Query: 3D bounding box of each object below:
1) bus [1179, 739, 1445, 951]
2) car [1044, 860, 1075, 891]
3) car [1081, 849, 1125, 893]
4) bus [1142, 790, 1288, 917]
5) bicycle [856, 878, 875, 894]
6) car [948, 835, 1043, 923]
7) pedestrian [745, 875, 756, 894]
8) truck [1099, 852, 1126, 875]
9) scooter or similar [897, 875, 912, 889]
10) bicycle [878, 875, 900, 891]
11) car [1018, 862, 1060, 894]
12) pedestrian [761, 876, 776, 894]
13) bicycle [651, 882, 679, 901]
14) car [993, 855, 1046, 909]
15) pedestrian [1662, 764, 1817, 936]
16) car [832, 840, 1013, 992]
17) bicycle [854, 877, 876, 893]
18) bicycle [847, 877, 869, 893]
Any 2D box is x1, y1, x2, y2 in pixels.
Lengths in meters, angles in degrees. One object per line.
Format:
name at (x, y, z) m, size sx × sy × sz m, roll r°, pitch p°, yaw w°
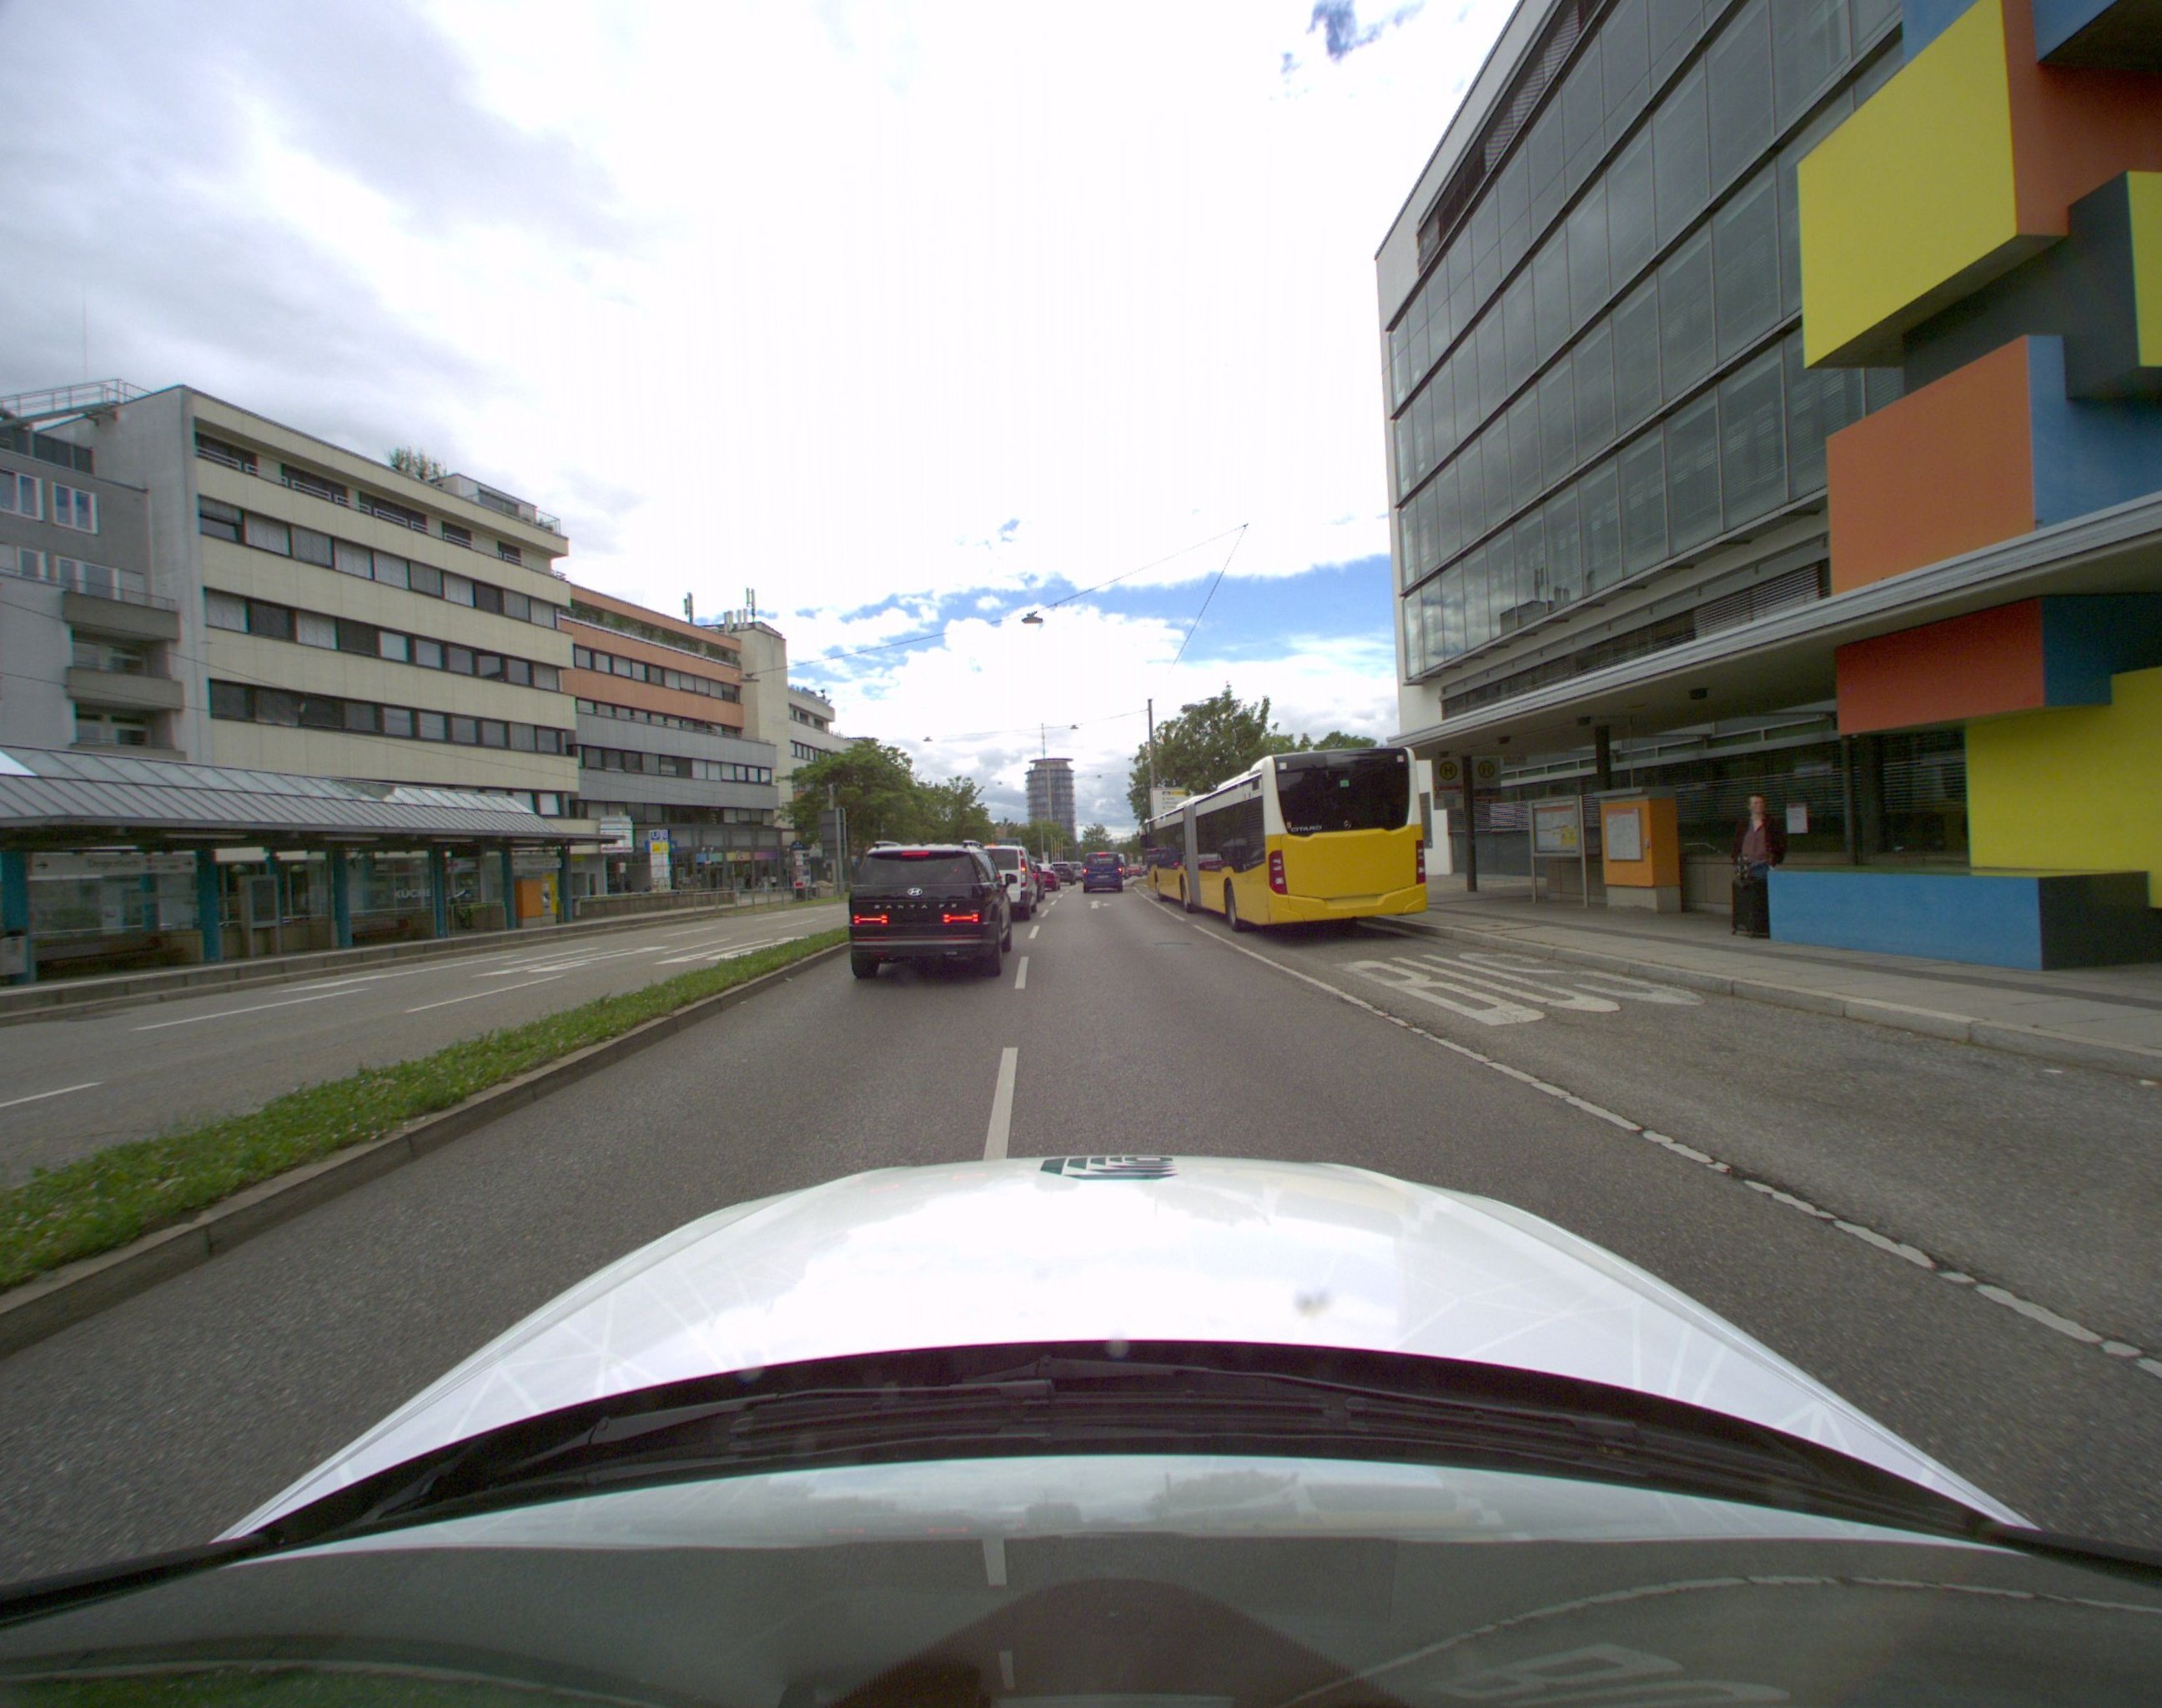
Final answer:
bus at (4.091, -0.117, 16.978) m, size 2.705 × 3.108 × 8.864 m, roll -3°, pitch 0°, yaw -1°
car at (-1.471, 1.497, 57.257) m, size 1.987 × 2.013 × 4.000 m, roll -2°, pitch 0°, yaw 1°
car at (1.060, 0.853, 39.770) m, size 1.941 × 1.965 × 4.541 m, roll -2°, pitch -1°, yaw 1°
bus at (3.854, 0.013, 25.877) m, size 2.705 × 3.164 × 9.120 m, roll -3°, pitch 0°, yaw -2°
bicycle at (-18.156, 2.655, 68.494) m, size 0.427 × 1.253 × 1.479 m, roll -4°, pitch -2°, yaw 44°
car at (-2.179, 0.672, 22.141) m, size 1.867 × 2.014 × 5.076 m, roll -3°, pitch -2°, yaw 1°
pedestrian at (-28.028, 2.576, 69.092) m, size 0.595 × 1.527 × 0.551 m, roll -3°, pitch -1°, yaw -42°
truck at (3.180, 0.958, 81.013) m, size 1.981 × 2.166 × 5.574 m, roll -1°, pitch -1°, yaw 10°
scooter or similar at (-17.322, 2.740, 79.981) m, size 1.316 × 1.270 × 0.339 m, roll -1°, pitch -2°, yaw 2°
bicycle at (-16.337, 2.456, 69.264) m, size 0.619 × 1.253 × 1.694 m, roll -4°, pitch -2°, yaw 42°
car at (-2.147, 1.286, 42.914) m, size 1.862 × 1.486 × 3.999 m, roll -3°, pitch -2°, yaw 0°
pedestrian at (-27.096, 2.664, 70.620) m, size 0.905 × 1.527 × 0.841 m, roll -3°, pitch -1°, yaw -42°
bicycle at (-30.619, 2.784, 59.944) m, size 1.949 × 1.319 × 0.710 m, roll -4°, pitch -2°, yaw 25°
car at (-2.267, 1.059, 30.768) m, size 1.743 × 1.723 × 3.995 m, roll -5°, pitch -2°, yaw -3°
pedestrian at (8.259, -0.052, 10.263) m, size 1.137 × 2.013 × 0.880 m, roll -3°, pitch -1°, yaw -2°
car at (-2.041, 0.725, 11.850) m, size 1.918 × 1.751 × 4.673 m, roll -1°, pitch 0°, yaw -3°
bicycle at (-17.910, 2.559, 67.514) m, size 0.619 × 1.253 × 1.694 m, roll -4°, pitch -2°, yaw 43°
bicycle at (-18.781, 2.584, 68.667) m, size 0.619 × 1.253 × 1.694 m, roll -4°, pitch -2°, yaw 42°
